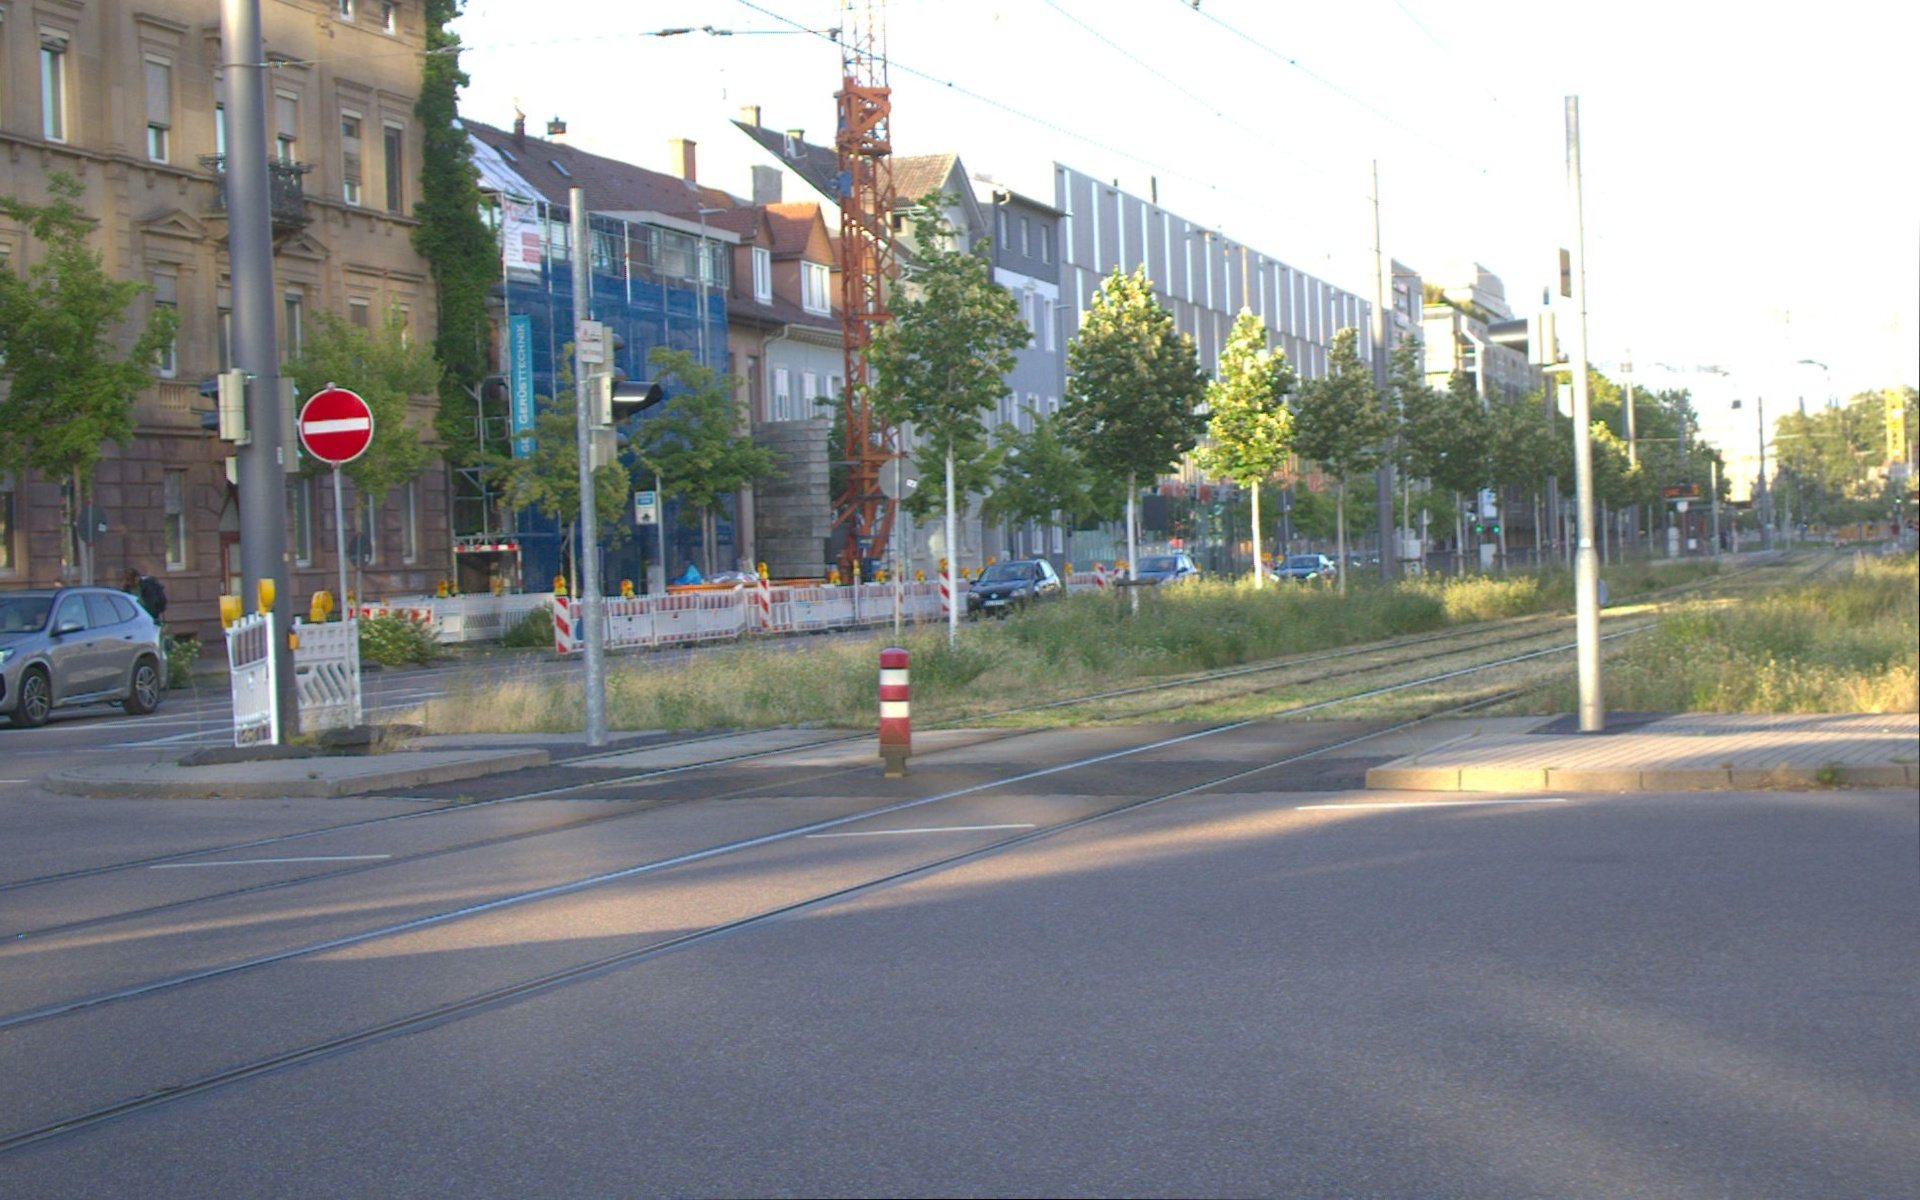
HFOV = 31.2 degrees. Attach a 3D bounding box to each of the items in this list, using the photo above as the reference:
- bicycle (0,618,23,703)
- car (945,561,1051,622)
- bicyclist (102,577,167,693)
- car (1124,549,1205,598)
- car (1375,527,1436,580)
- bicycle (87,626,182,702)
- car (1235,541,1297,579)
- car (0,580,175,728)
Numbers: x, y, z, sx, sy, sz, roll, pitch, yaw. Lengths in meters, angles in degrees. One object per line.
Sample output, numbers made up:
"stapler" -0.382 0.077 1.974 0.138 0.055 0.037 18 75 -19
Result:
"bicycle" -13.392 0.840 45.721 0.848 1.120 2.413 0 2 10
"car" 0.972 -0.235 86.320 1.659 1.426 3.892 1 2 16
"bicyclist" -11.409 0.480 47.528 0.590 1.564 0.710 1 2 16
"car" 6.382 -0.841 106.944 1.659 1.426 3.892 1 2 16
"car" 17.214 -1.825 132.718 1.659 1.957 4.263 1 2 16
"bicycle" -11.409 0.879 47.548 0.590 0.972 1.555 1 2 16
"car" 11.968 -1.581 134.324 1.659 1.426 3.892 1 2 16
"car" -11.301 0.649 40.953 1.995 1.575 4.121 -3 1 16
